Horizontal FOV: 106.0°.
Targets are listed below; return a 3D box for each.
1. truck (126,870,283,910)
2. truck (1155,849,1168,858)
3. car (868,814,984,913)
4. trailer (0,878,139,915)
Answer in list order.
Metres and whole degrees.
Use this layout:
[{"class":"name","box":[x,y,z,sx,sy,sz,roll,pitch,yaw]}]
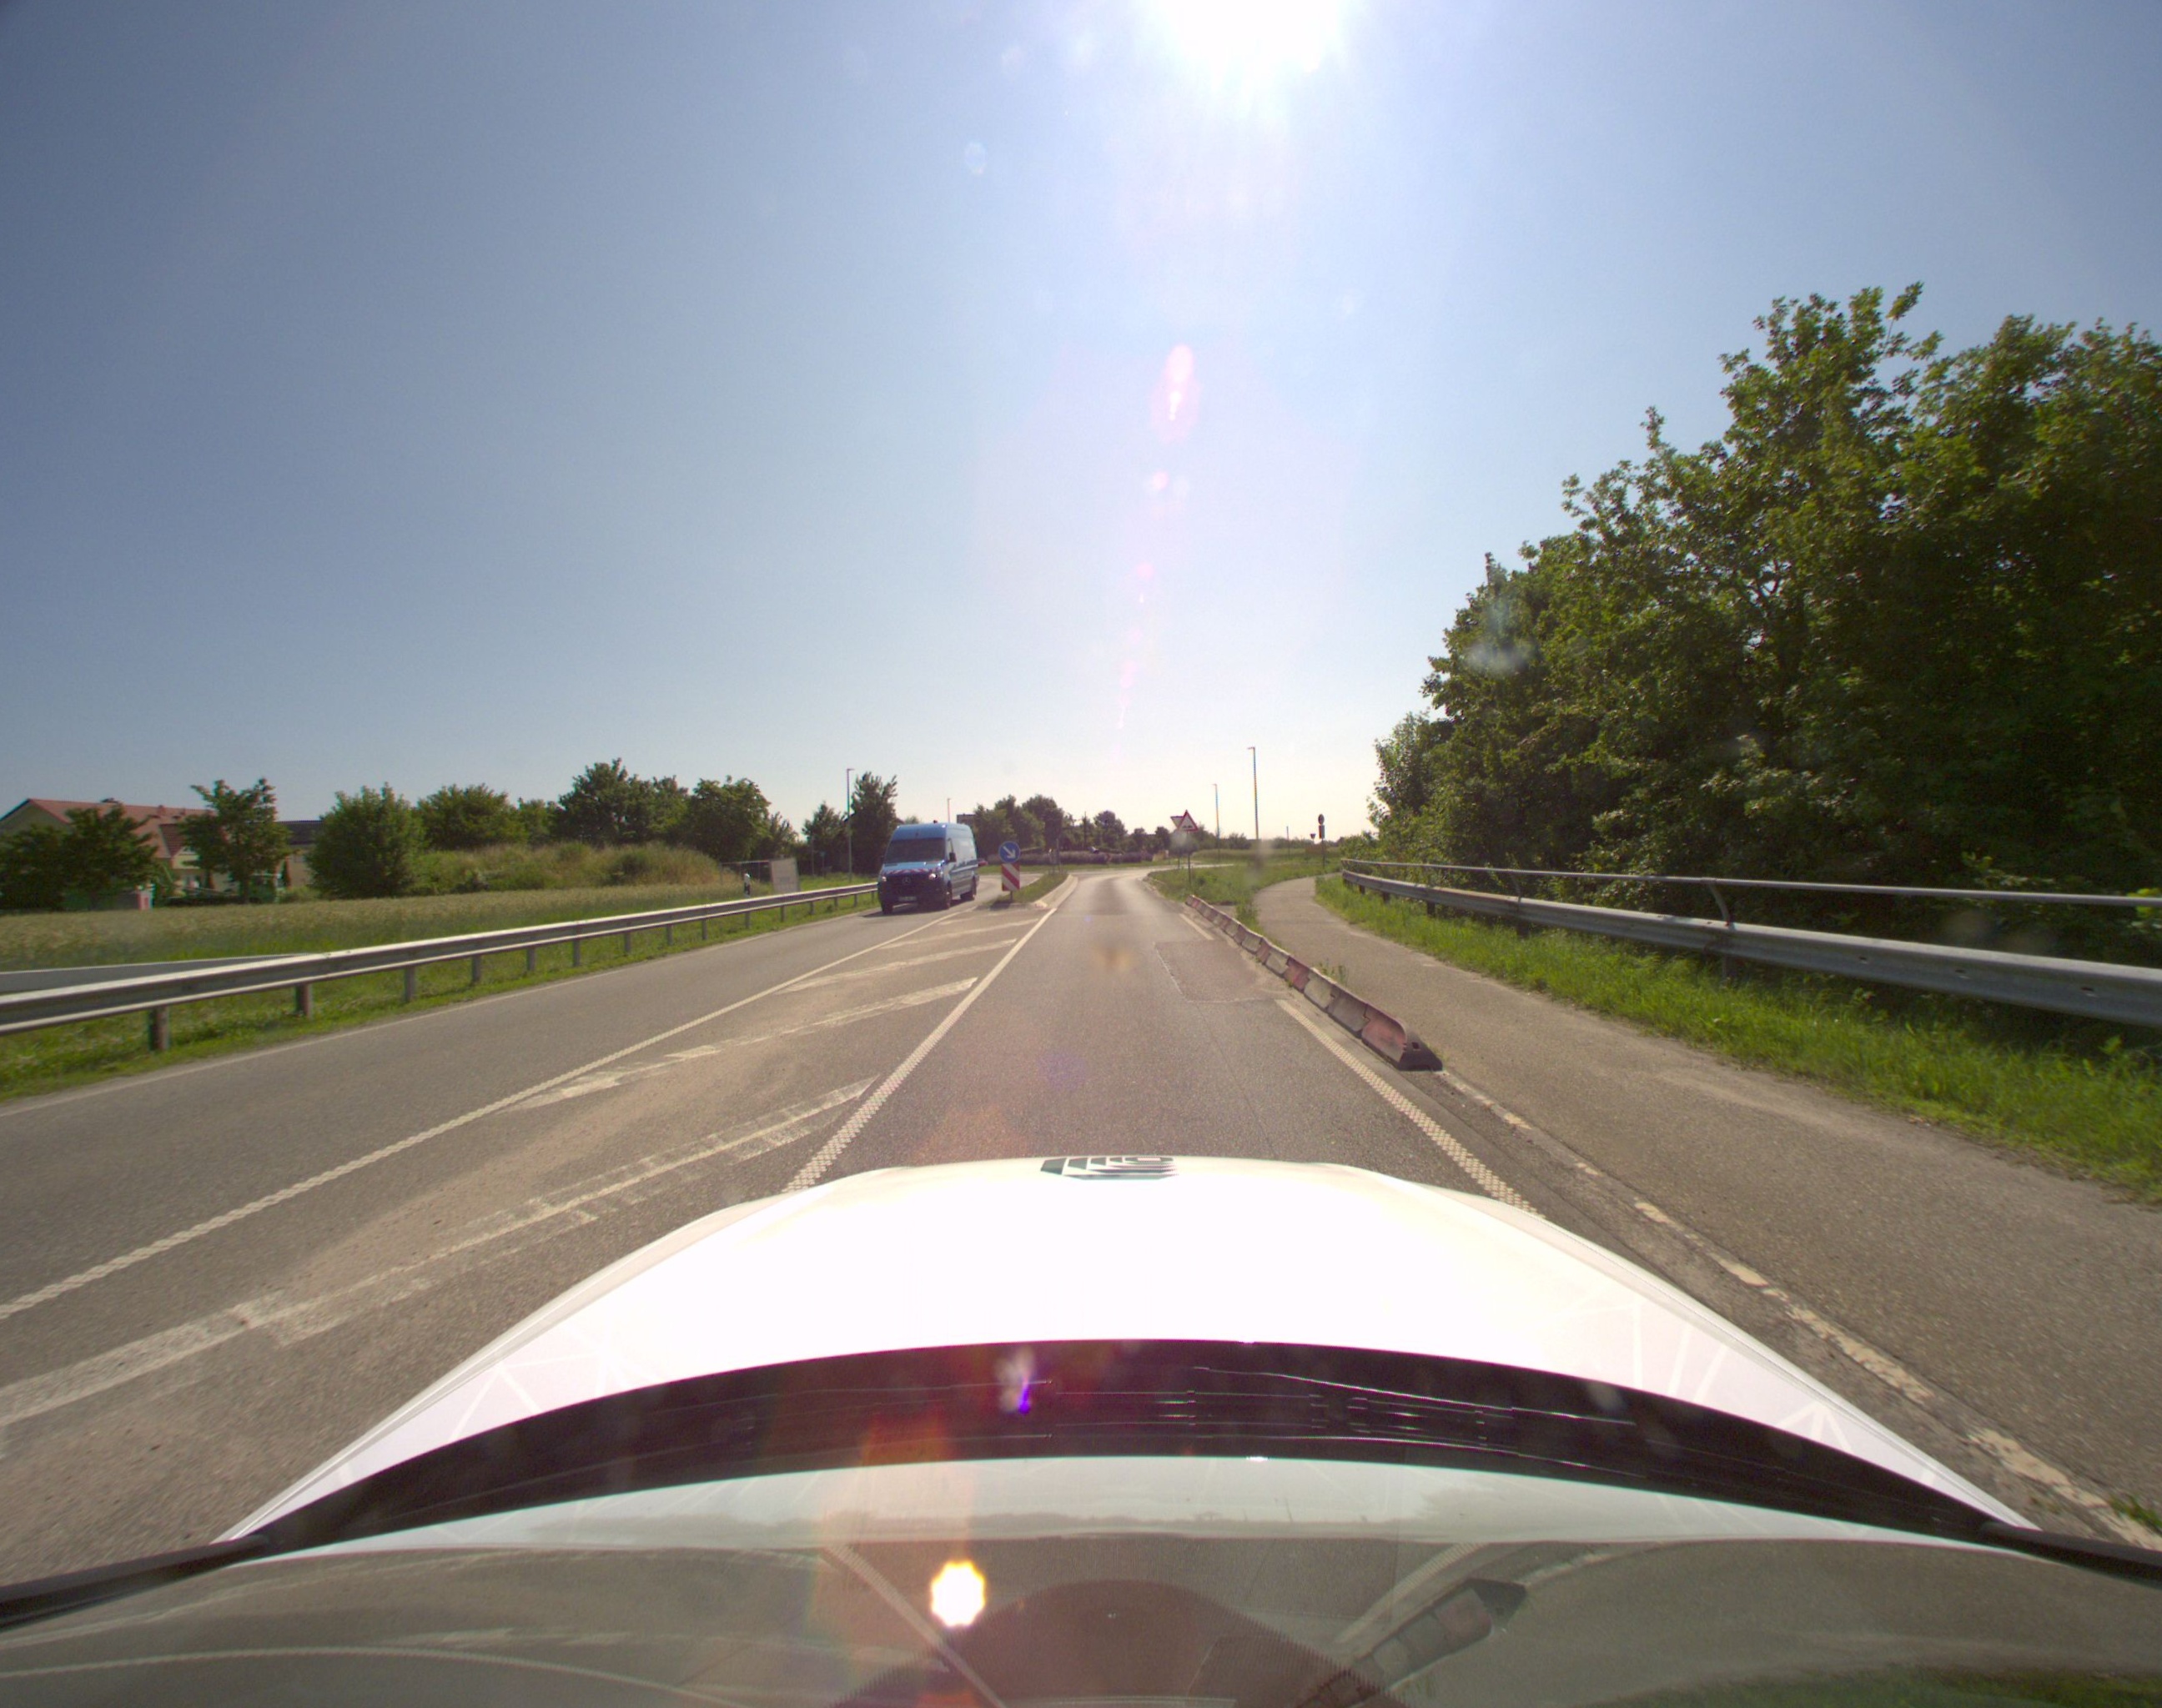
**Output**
[{"class":"truck","box":[-66.477,2.687,62.056,7.719,2.649,2.494,-1,0,-35]},{"class":"truck","box":[18.504,-0.075,186.960,1.978,2.013,4.018,-2,0,17]},{"class":"car","box":[-4.732,0.261,26.241,1.986,2.611,7.293,-4,0,2]},{"class":"trailer","box":[-73.900,3.022,56.762,10.535,2.278,1.978,-1,0,-35]}]
